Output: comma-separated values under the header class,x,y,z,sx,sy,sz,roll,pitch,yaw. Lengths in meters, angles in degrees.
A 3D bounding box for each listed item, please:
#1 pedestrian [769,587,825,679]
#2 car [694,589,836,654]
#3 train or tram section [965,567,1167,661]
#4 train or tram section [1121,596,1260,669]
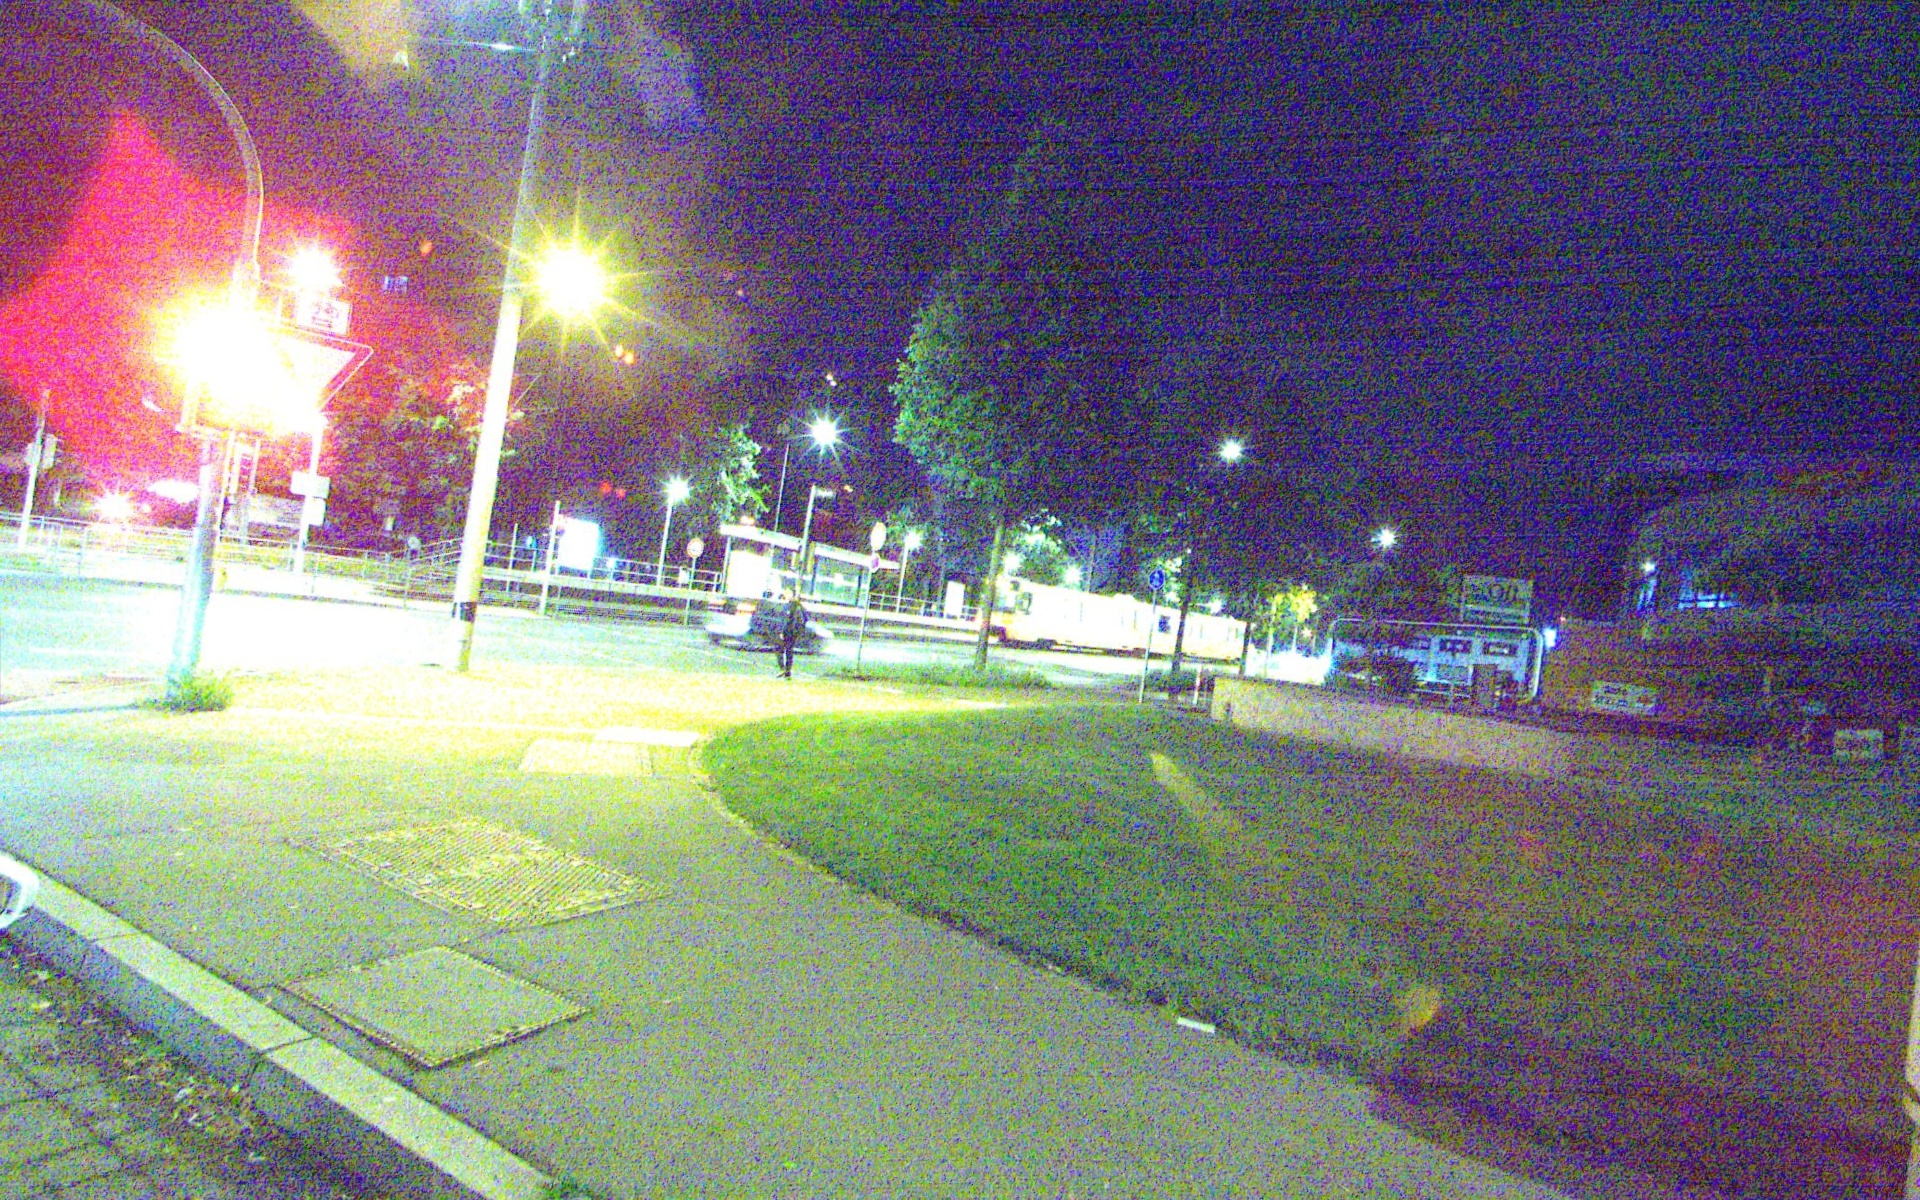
class,x,y,z,sx,sy,sz,roll,pitch,yaw
pedestrian,-3.123,0.619,19.211,0.867,1.677,0.835,2,1,-18
car,-5.370,0.639,28.078,1.617,1.438,3.687,7,0,35
train or tram section,6.955,1.160,59.691,2.918,3.896,18.427,8,0,35
train or tram section,17.674,2.654,74.932,2.919,3.894,18.866,5,-2,35
